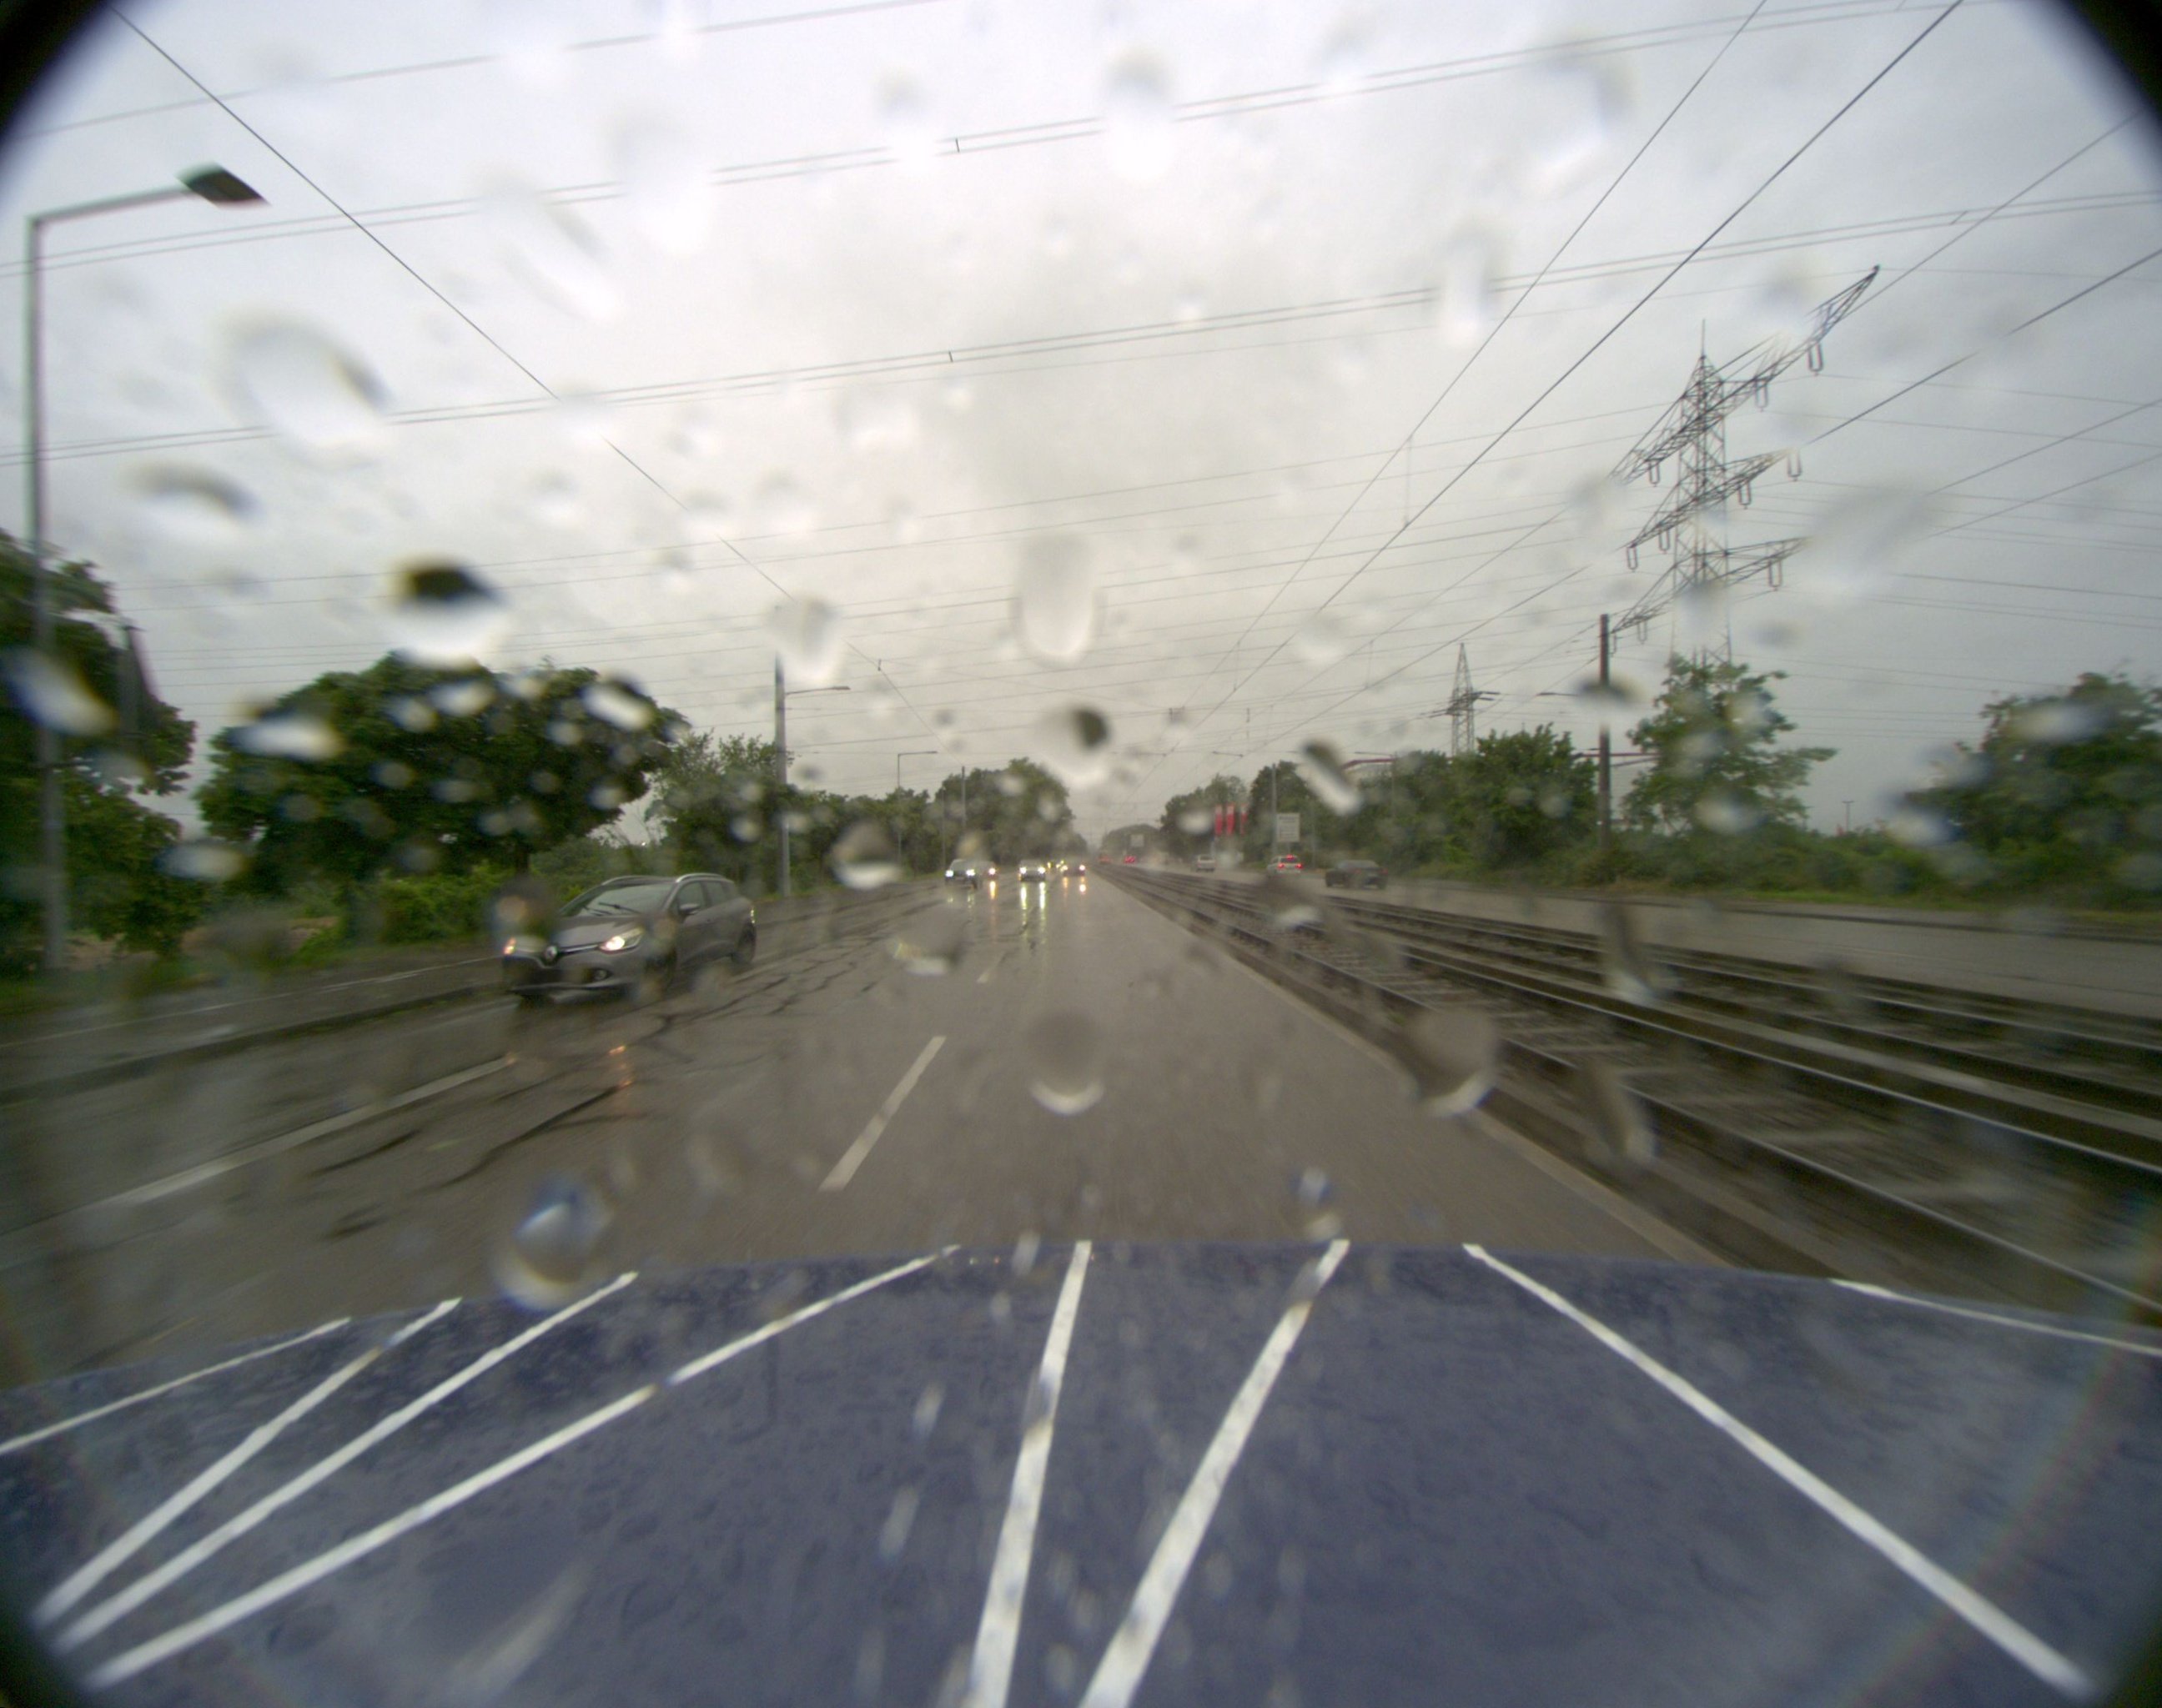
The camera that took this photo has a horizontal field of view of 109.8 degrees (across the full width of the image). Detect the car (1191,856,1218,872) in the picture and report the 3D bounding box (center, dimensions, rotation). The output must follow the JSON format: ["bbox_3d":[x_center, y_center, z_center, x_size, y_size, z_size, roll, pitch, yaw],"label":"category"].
[{"bbox_3d":[13.083,1.066,80.804,1.830,1.625,5.136,-2,-1,-1],"label":"car"}]

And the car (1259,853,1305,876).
[{"bbox_3d":[14.611,0.743,55.558,1.847,1.564,5.066,-2,-1,-1],"label":"car"}]

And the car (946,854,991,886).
[{"bbox_3d":[-6.507,0.918,44.366,1.797,1.692,4.763,-2,0,1],"label":"car"}]

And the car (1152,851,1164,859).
[{"bbox_3d":[15.704,0.242,154.848,1.901,1.631,4.730,-2,0,-1],"label":"car"}]

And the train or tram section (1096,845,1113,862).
[{"bbox_3d":[5.526,-0.093,182.549,2.893,3.683,19.528,-2,-1,-1],"label":"train or tram section"}]

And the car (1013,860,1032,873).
[{"bbox_3d":[-6.783,1.406,88.058,1.784,1.419,4.000,-1,0,1],"label":"car"}]

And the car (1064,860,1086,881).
[{"bbox_3d":[-0.477,1.391,64.557,1.816,1.692,4.000,-1,0,1],"label":"car"}]

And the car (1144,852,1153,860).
[{"bbox_3d":[17.444,0.450,195.803,1.868,1.903,4.000,-2,0,-1],"label":"car"}]

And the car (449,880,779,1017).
[{"bbox_3d":[-6.061,1.126,10.613,1.892,1.349,4.277,-2,-1,0],"label":"car"}]

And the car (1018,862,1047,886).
[{"bbox_3d":[-3.306,1.342,52.725,1.807,1.521,3.645,-2,0,-1],"label":"car"}]

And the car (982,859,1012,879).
[{"bbox_3d":[-6.437,1.146,58.306,1.784,1.419,4.000,-1,0,1],"label":"car"}]

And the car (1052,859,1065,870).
[{"bbox_3d":[-3.461,1.639,117.164,1.846,1.572,3.837,-2,0,-1],"label":"car"}]

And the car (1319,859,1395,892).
[{"bbox_3d":[13.520,1.009,37.582,1.998,1.455,5.252,1,0,2],"label":"car"}]

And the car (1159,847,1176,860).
[{"bbox_3d":[16.025,-0.118,140.846,2.156,2.284,5.983,2,-1,-1],"label":"car"}]

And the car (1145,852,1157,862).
[{"bbox_3d":[15.699,0.706,171.737,2.095,2.088,4.730,-2,0,-1],"label":"car"}]
